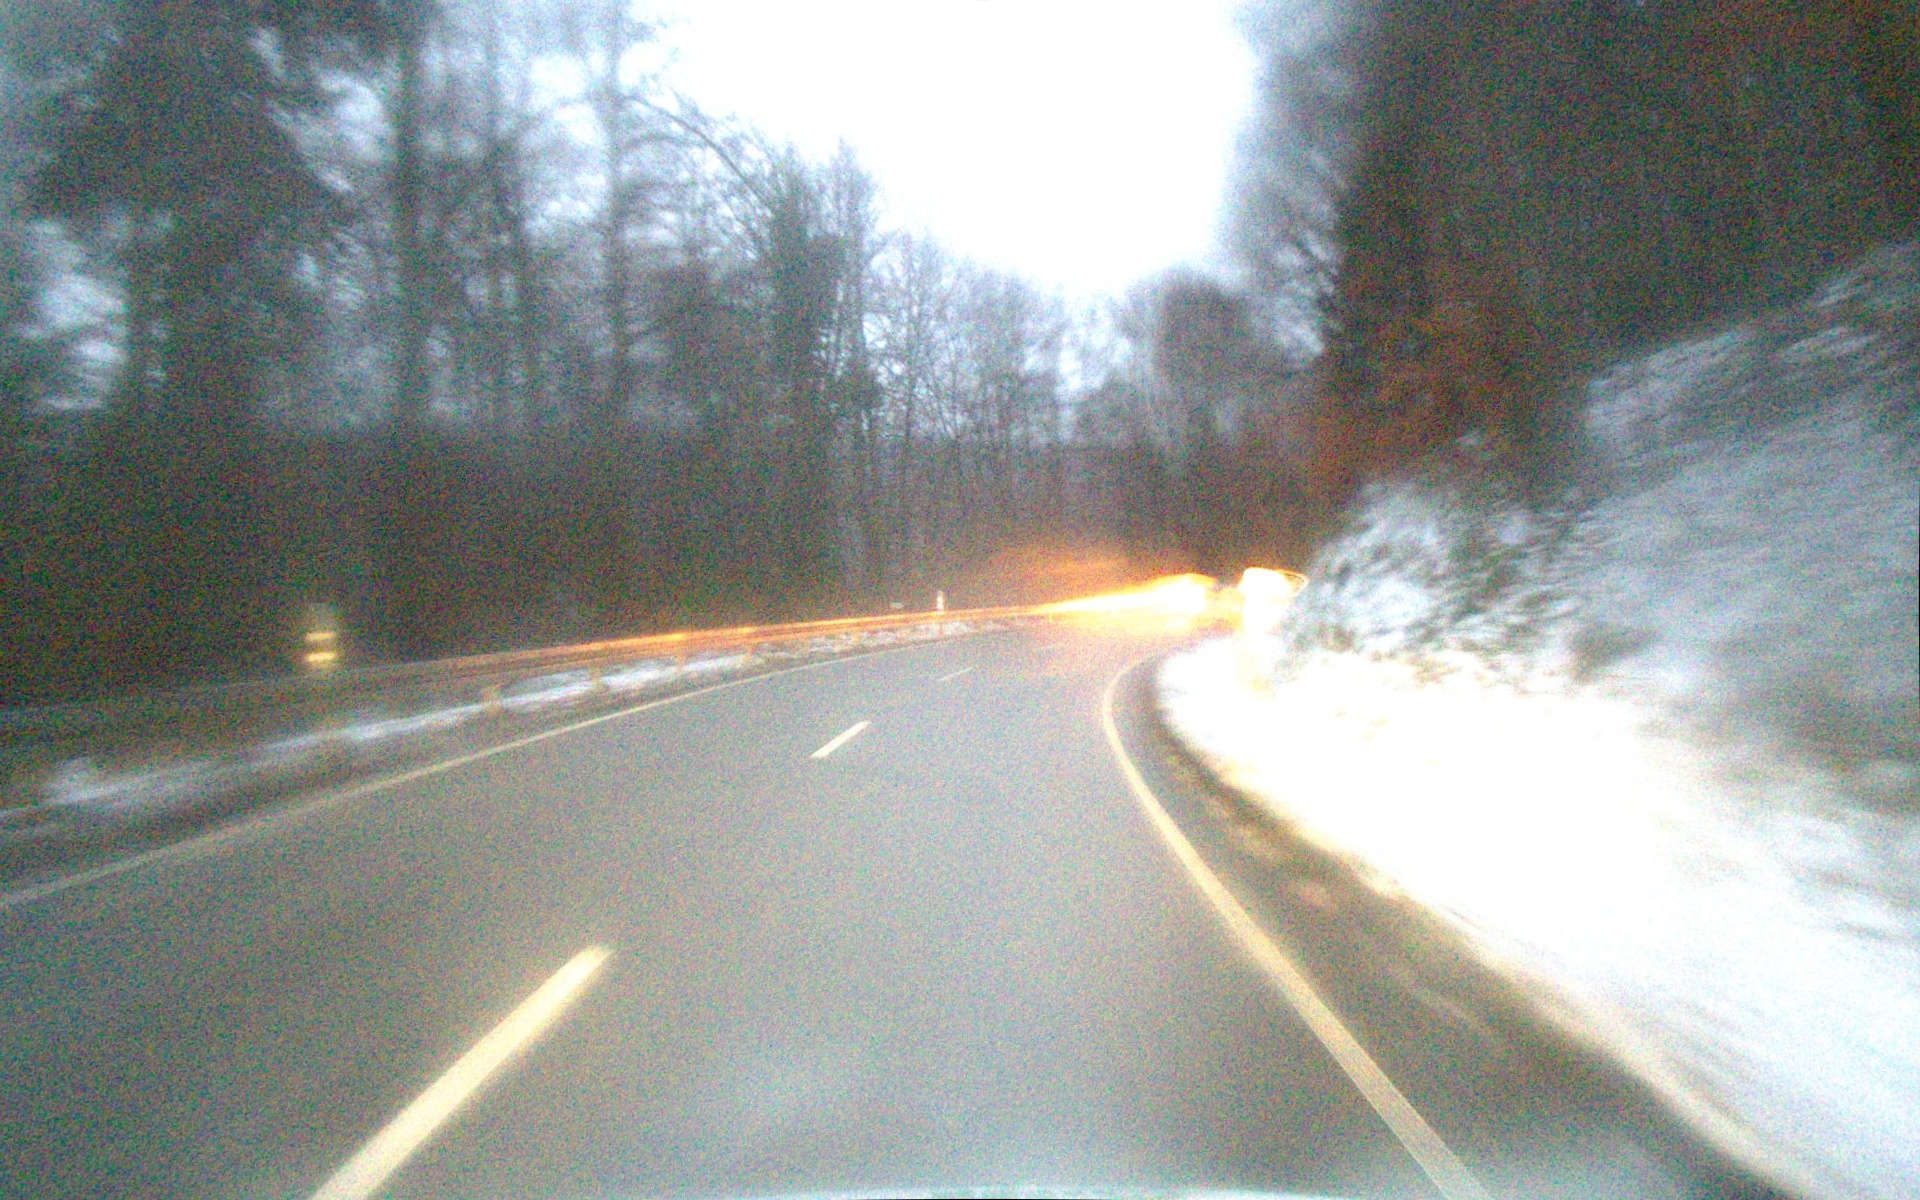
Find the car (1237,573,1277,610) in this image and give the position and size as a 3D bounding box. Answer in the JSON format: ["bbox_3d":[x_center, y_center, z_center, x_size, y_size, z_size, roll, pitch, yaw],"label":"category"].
[{"bbox_3d":[14.122,-0.420,78.580,1.685,1.658,4.004,1,1,13],"label":"car"}]

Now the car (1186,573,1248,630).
[{"bbox_3d":[9.016,0.033,57.780,1.951,1.905,4.004,0,0,11],"label":"car"}]
